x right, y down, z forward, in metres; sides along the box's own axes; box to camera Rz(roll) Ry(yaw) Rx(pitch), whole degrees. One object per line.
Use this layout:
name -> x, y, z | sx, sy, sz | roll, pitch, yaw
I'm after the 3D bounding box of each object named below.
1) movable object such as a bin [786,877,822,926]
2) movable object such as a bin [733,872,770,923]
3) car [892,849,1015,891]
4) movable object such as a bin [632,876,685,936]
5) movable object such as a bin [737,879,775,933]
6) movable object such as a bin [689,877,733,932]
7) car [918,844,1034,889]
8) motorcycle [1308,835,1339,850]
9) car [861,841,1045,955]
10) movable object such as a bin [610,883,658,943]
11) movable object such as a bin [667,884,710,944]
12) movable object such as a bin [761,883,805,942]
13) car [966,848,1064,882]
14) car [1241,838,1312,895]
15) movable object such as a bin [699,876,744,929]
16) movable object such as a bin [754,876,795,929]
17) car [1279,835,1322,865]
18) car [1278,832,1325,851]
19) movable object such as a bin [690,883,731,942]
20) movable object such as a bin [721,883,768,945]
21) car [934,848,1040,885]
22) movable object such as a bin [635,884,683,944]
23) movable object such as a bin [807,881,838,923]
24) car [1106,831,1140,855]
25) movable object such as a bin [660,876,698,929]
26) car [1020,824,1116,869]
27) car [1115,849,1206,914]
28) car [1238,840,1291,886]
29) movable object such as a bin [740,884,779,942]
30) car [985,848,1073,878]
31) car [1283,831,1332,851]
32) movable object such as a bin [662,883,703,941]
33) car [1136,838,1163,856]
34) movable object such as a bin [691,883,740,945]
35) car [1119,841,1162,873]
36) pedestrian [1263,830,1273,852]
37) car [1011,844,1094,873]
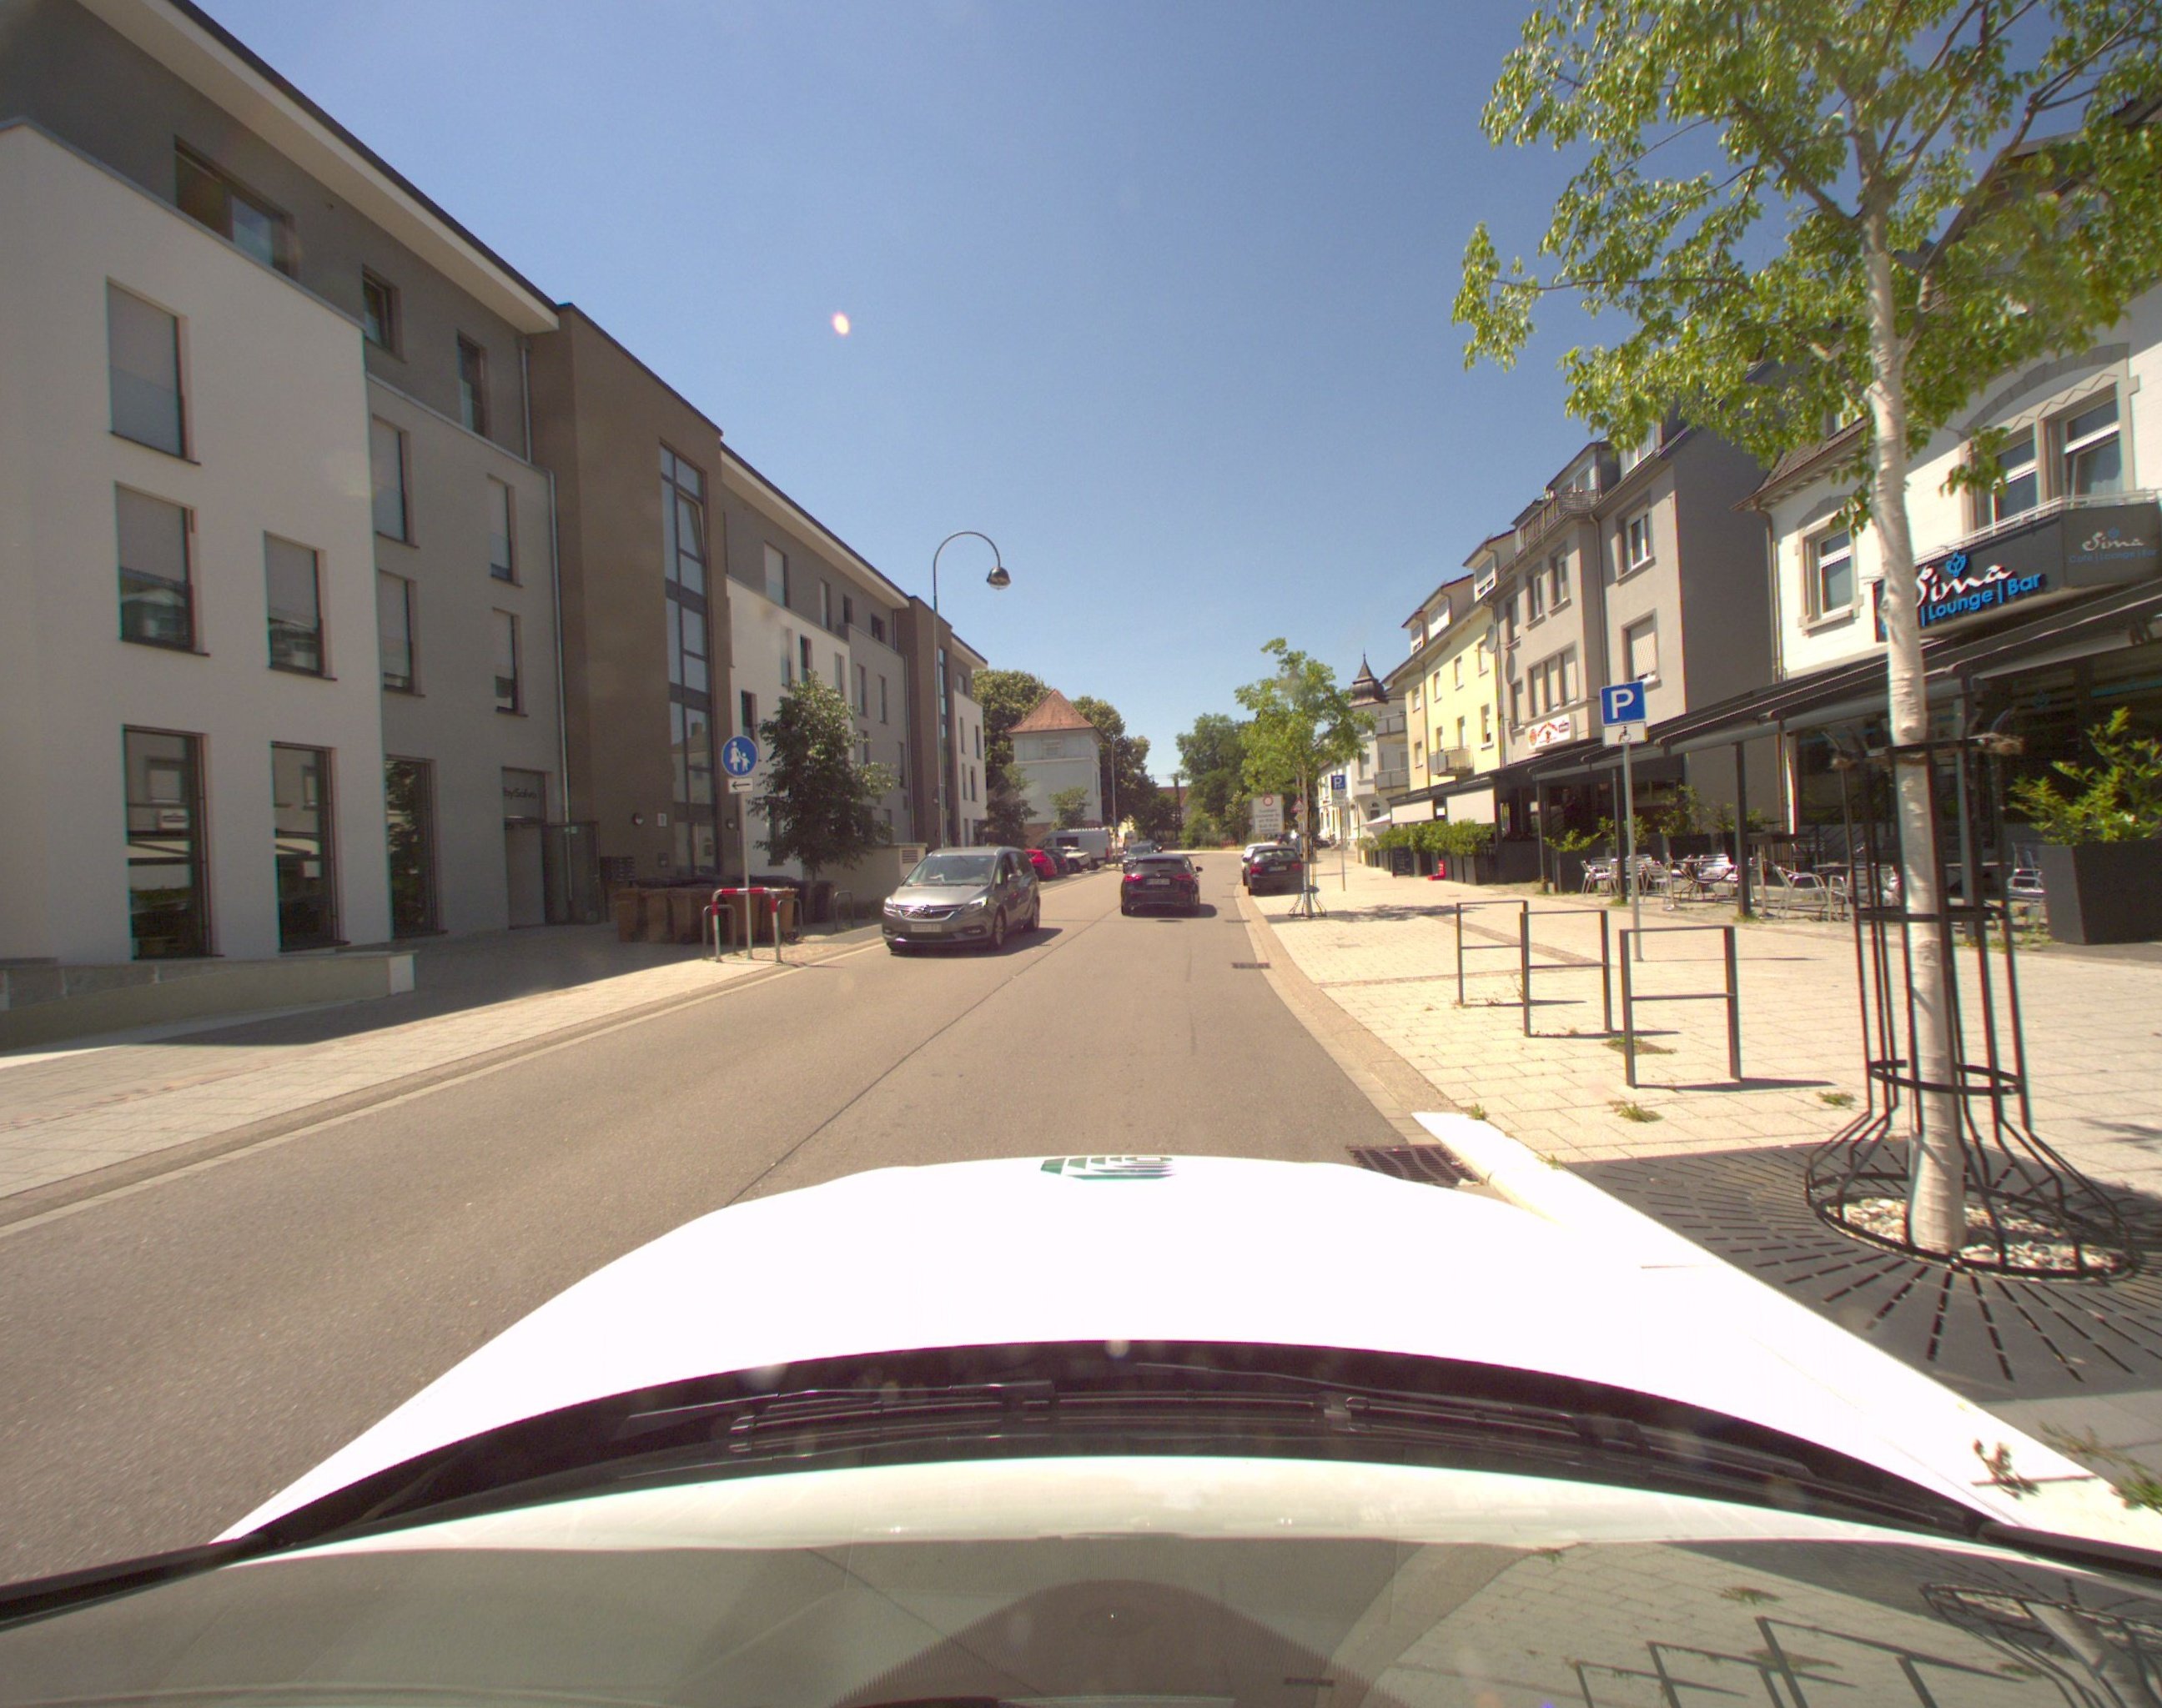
movable object such as a bin -> -5.839, 0.998, 17.184 | 0.550, 0.998, 0.428 | -2, 0, 10
movable object such as a bin -> -7.062, 0.932, 17.470 | 0.575, 1.039, 0.549 | -2, 0, -9
car -> -4.549, 0.568, 29.374 | 3.963, 1.421, 1.915 | -1, 0, 9
movable object such as a bin -> -8.224, 1.002, 15.872 | 0.692, 1.095, 0.646 | -2, 0, -9
movable object such as a bin -> -6.370, 1.019, 15.987 | 0.553, 0.998, 0.404 | -3, 0, -5
movable object such as a bin -> -7.321, 0.988, 16.122 | 0.619, 1.039, 0.581 | -2, 0, -9
car -> -4.055, 0.470, 31.854 | 4.006, 1.651, 2.006 | -1, 0, 11
motorcycle -> 20.776, -0.983, 69.774 | 2.363, 1.275, 0.858 | -2, 1, 8
car -> -2.015, 0.654, 14.189 | 1.931, 1.658, 4.246 | -1, 0, 9
movable object such as a bin -> -7.918, 1.030, 14.441 | 0.481, 0.998, 0.588 | -2, 0, 2
movable object such as a bin -> -6.785, 1.031, 14.083 | 0.422, 0.998, 0.525 | -2, 0, 9
movable object such as a bin -> -5.290, 1.026, 14.486 | 0.480, 0.998, 0.589 | -2, 0, 7
car -> -2.984, 0.491, 37.204 | 4.006, 1.430, 2.006 | -1, 0, 11
car -> 5.945, 0.367, 25.180 | 1.821, 1.482, 4.107 | -4, -1, 10
movable object such as a bin -> -7.408, 0.991, 16.798 | 0.675, 1.039, 0.603 | -2, 0, -9
movable object such as a bin -> -6.272, 0.984, 16.681 | 0.551, 1.020, 0.561 | -2, 0, 4
car -> 13.064, -0.251, 48.271 | 1.855, 1.491, 3.883 | -4, 1, 23
car -> 20.532, -1.151, 75.946 | 4.053, 1.716, 1.860 | -1, 0, 7
movable object such as a bin -> -6.654, 1.042, 14.638 | 0.401, 0.998, 0.557 | -2, 0, 8
movable object such as a bin -> -5.746, 1.020, 13.942 | 0.480, 0.998, 0.589 | -2, 0, 6
car -> -3.957, 0.527, 34.695 | 4.006, 1.496, 2.006 | -1, 0, 11
movable object such as a bin -> -7.334, 1.037, 14.166 | 0.480, 0.998, 0.528 | -2, 0, 12
movable object such as a bin -> -5.644, 1.041, 17.792 | 0.554, 0.867, 0.480 | -2, 0, -9
car -> 5.073, -1.290, 99.492 | 2.136, 2.629, 5.239 | -3, 0, -22
movable object such as a bin -> -8.289, 0.991, 16.804 | 0.554, 1.039, 0.480 | -2, 0, -9
car -> -0.786, -0.475, 51.689 | 5.732, 2.732, 2.298 | -1, 0, 9
car -> 2.052, 0.638, 20.052 | 1.816, 1.442, 4.012 | -1, -1, 11
car -> 7.050, 0.301, 31.006 | 1.725, 1.486, 4.070 | -5, -1, 14
movable object such as a bin -> -5.751, 1.048, 14.572 | 0.401, 0.998, 0.557 | -2, 0, 8
car -> -2.620, 0.437, 41.552 | 4.180, 1.437, 1.888 | -1, 0, 4
car -> 20.469, -1.147, 73.786 | 4.053, 1.716, 1.860 | -1, 0, 7
movable object such as a bin -> -7.217, 1.041, 14.767 | 0.401, 0.998, 0.557 | -2, 0, 8
car -> 6.715, -0.753, 80.542 | 1.890, 1.553, 4.793 | -4, 2, -3
movable object such as a bin -> -6.259, 1.025, 13.958 | 0.480, 0.998, 0.589 | -2, 0, 8
car -> 3.440, 0.163, 46.317 | 1.799, 1.701, 4.089 | -3, -1, 12
pedestrian -> 16.272, -1.141, 70.925 | 0.740, 1.796, 0.847 | -2, 2, 16
car -> -1.586, 0.255, 46.862 | 4.428, 1.591, 2.005 | -1, 0, 8
